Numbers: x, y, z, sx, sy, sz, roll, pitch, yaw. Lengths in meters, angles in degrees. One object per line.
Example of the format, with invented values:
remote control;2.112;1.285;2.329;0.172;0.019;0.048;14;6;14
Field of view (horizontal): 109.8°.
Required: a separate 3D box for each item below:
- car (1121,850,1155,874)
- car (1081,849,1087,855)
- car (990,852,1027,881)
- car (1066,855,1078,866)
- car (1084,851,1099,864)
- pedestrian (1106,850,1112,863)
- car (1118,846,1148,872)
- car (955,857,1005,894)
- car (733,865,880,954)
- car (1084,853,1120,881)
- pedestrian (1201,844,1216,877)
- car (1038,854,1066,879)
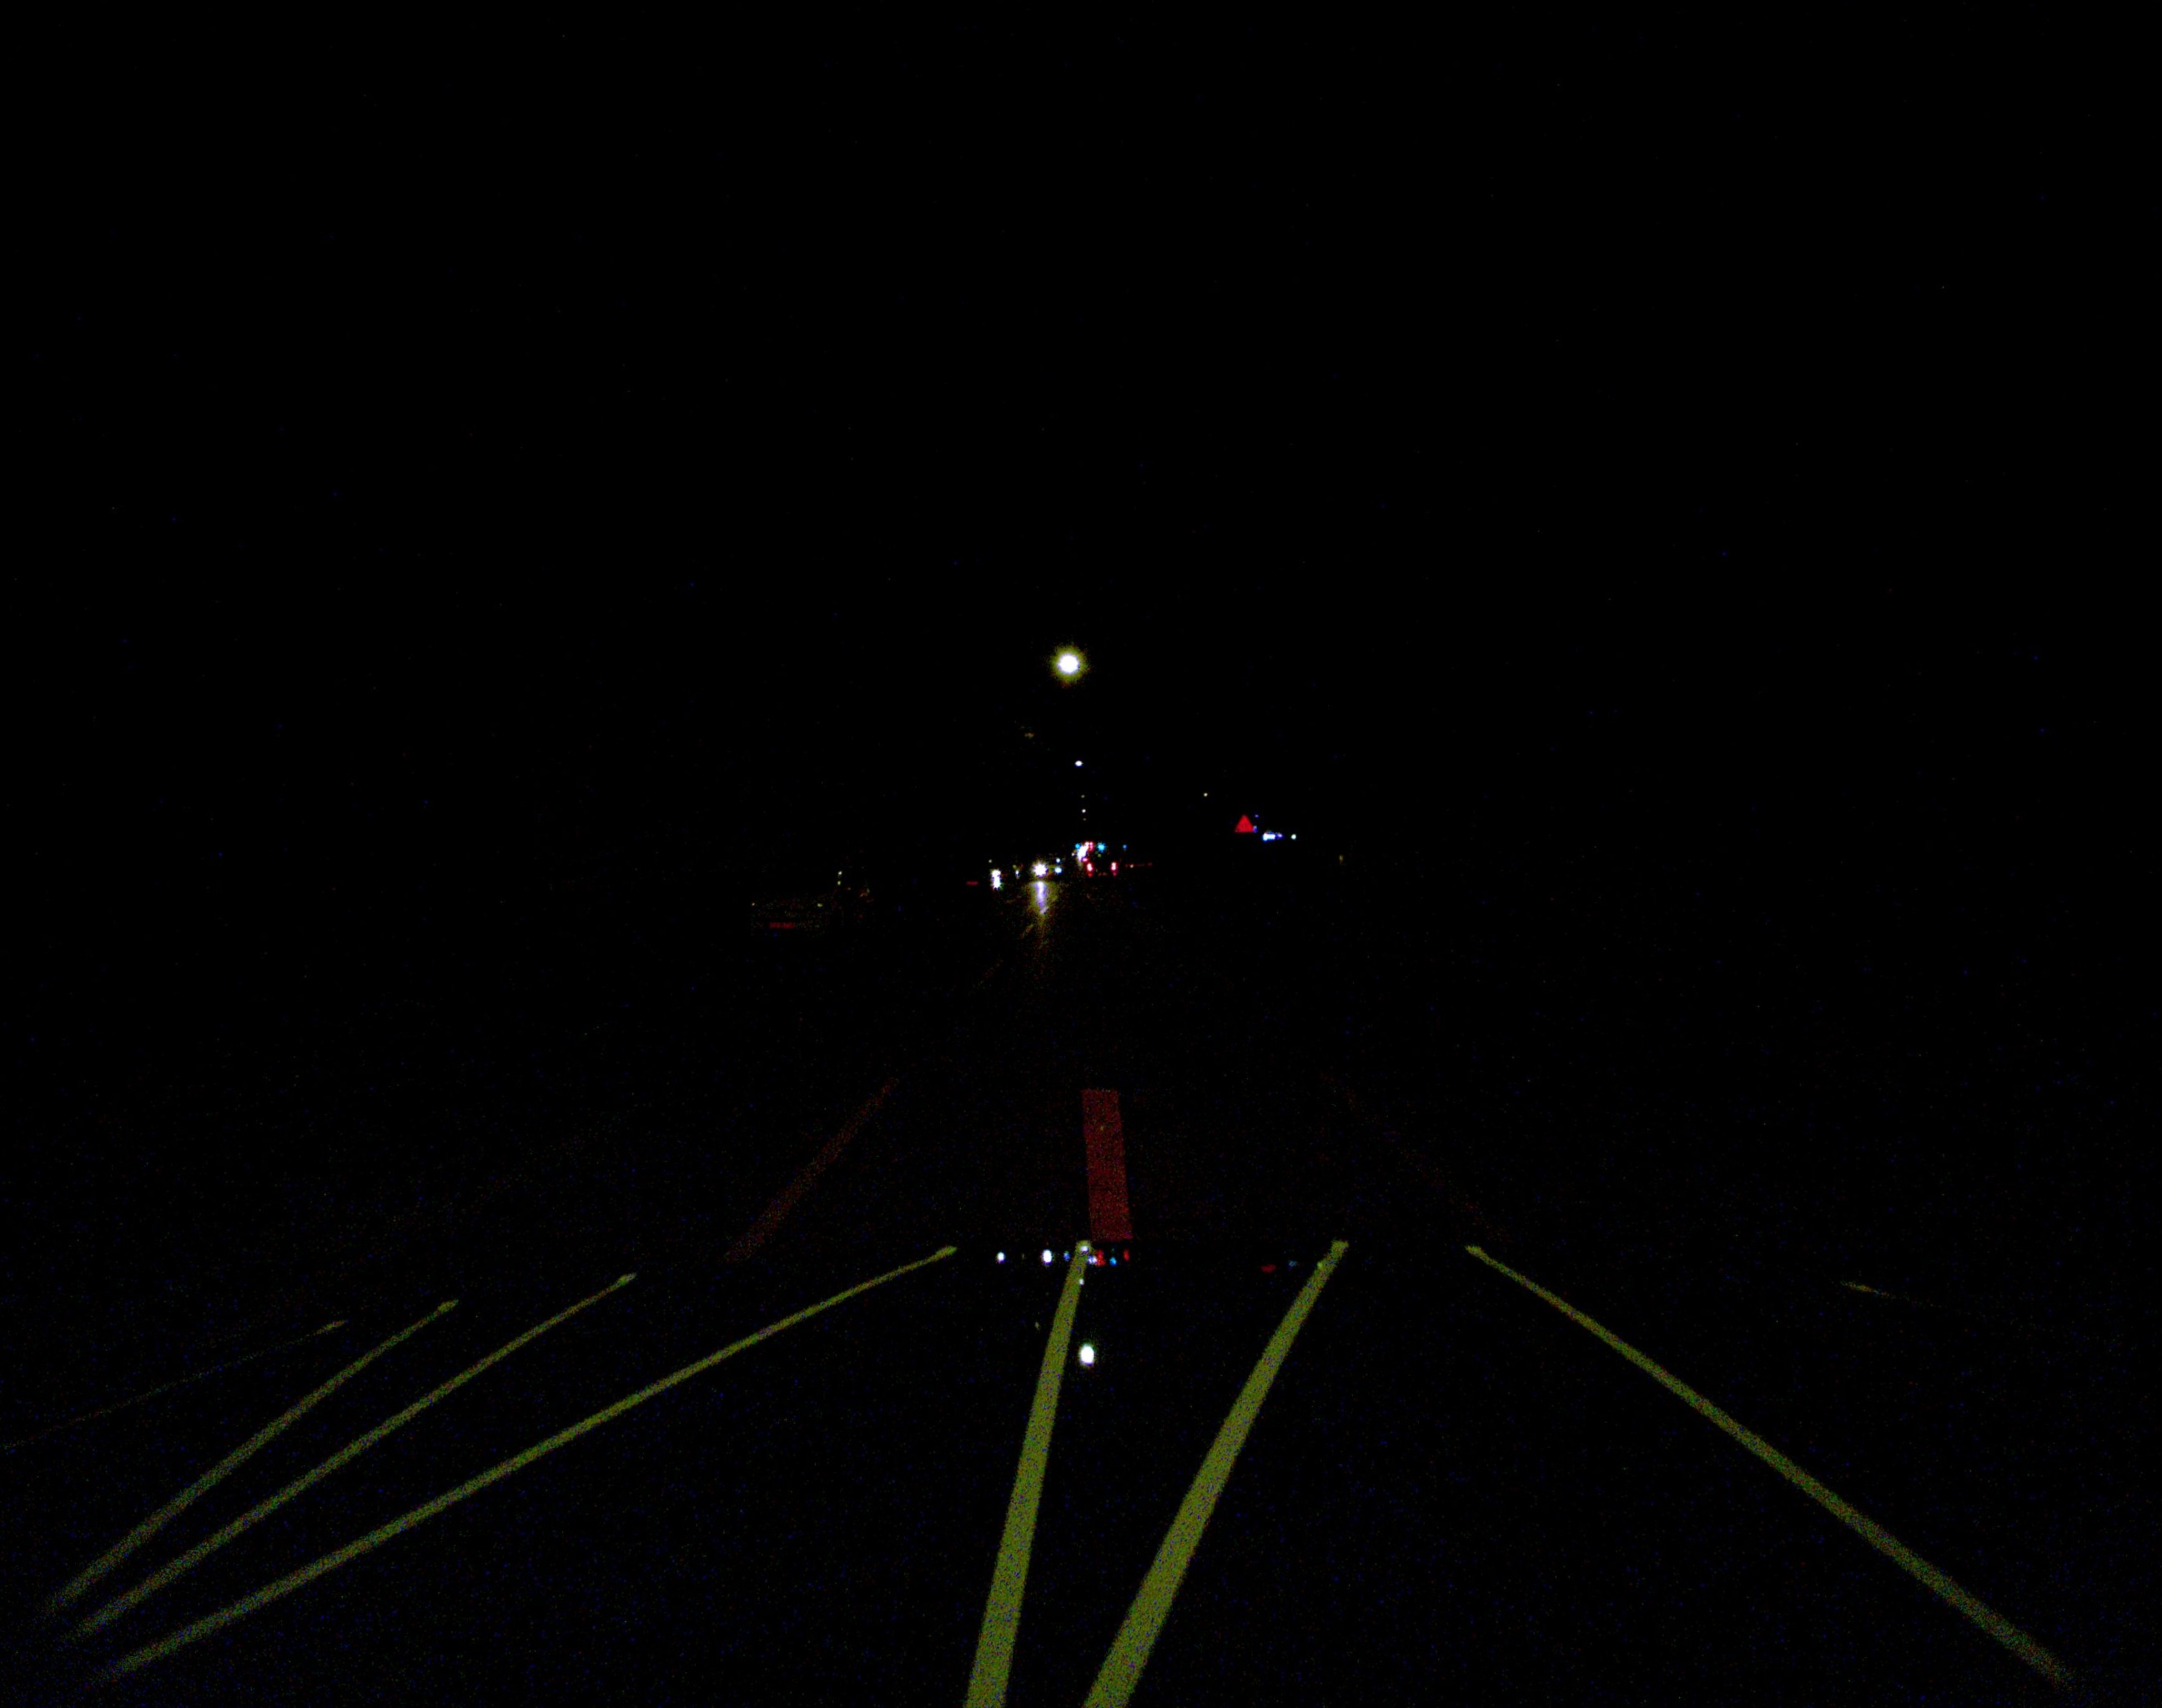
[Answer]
car;3.889;0.515;52.086;1.998;1.477;3.999;-3;1;1
car;0.908;-0.575;231.243;1.998;1.740;3.999;-2;1;1
car;-4.461;0.752;47.484;1.852;1.643;4.179;-2;0;0
car;-1.534;1.177;134.656;1.998;1.718;3.803;-2;1;1
car;1.449;0.493;104.136;1.903;1.581;3.661;-2;1;4
pedestrian;4.326;0.424;118.294;0.804;2.002;0.940;-2;1;1
car;3.865;0.321;56.933;1.998;1.772;3.999;-2;1;1
car;-4.470;0.905;33.952;1.742;1.489;3.890;-1;0;-1
car;-5.290;1.008;15.089;1.611;1.500;3.486;0;0;1
car;1.146;0.763;43.120;1.755;1.433;3.487;-2;-2;-2
pedestrian;6.898;0.367;41.187;0.673;1.750;0.500;-2;1;1
car;-1.899;0.787;50.782;1.780;1.477;3.999;-2;1;-1
